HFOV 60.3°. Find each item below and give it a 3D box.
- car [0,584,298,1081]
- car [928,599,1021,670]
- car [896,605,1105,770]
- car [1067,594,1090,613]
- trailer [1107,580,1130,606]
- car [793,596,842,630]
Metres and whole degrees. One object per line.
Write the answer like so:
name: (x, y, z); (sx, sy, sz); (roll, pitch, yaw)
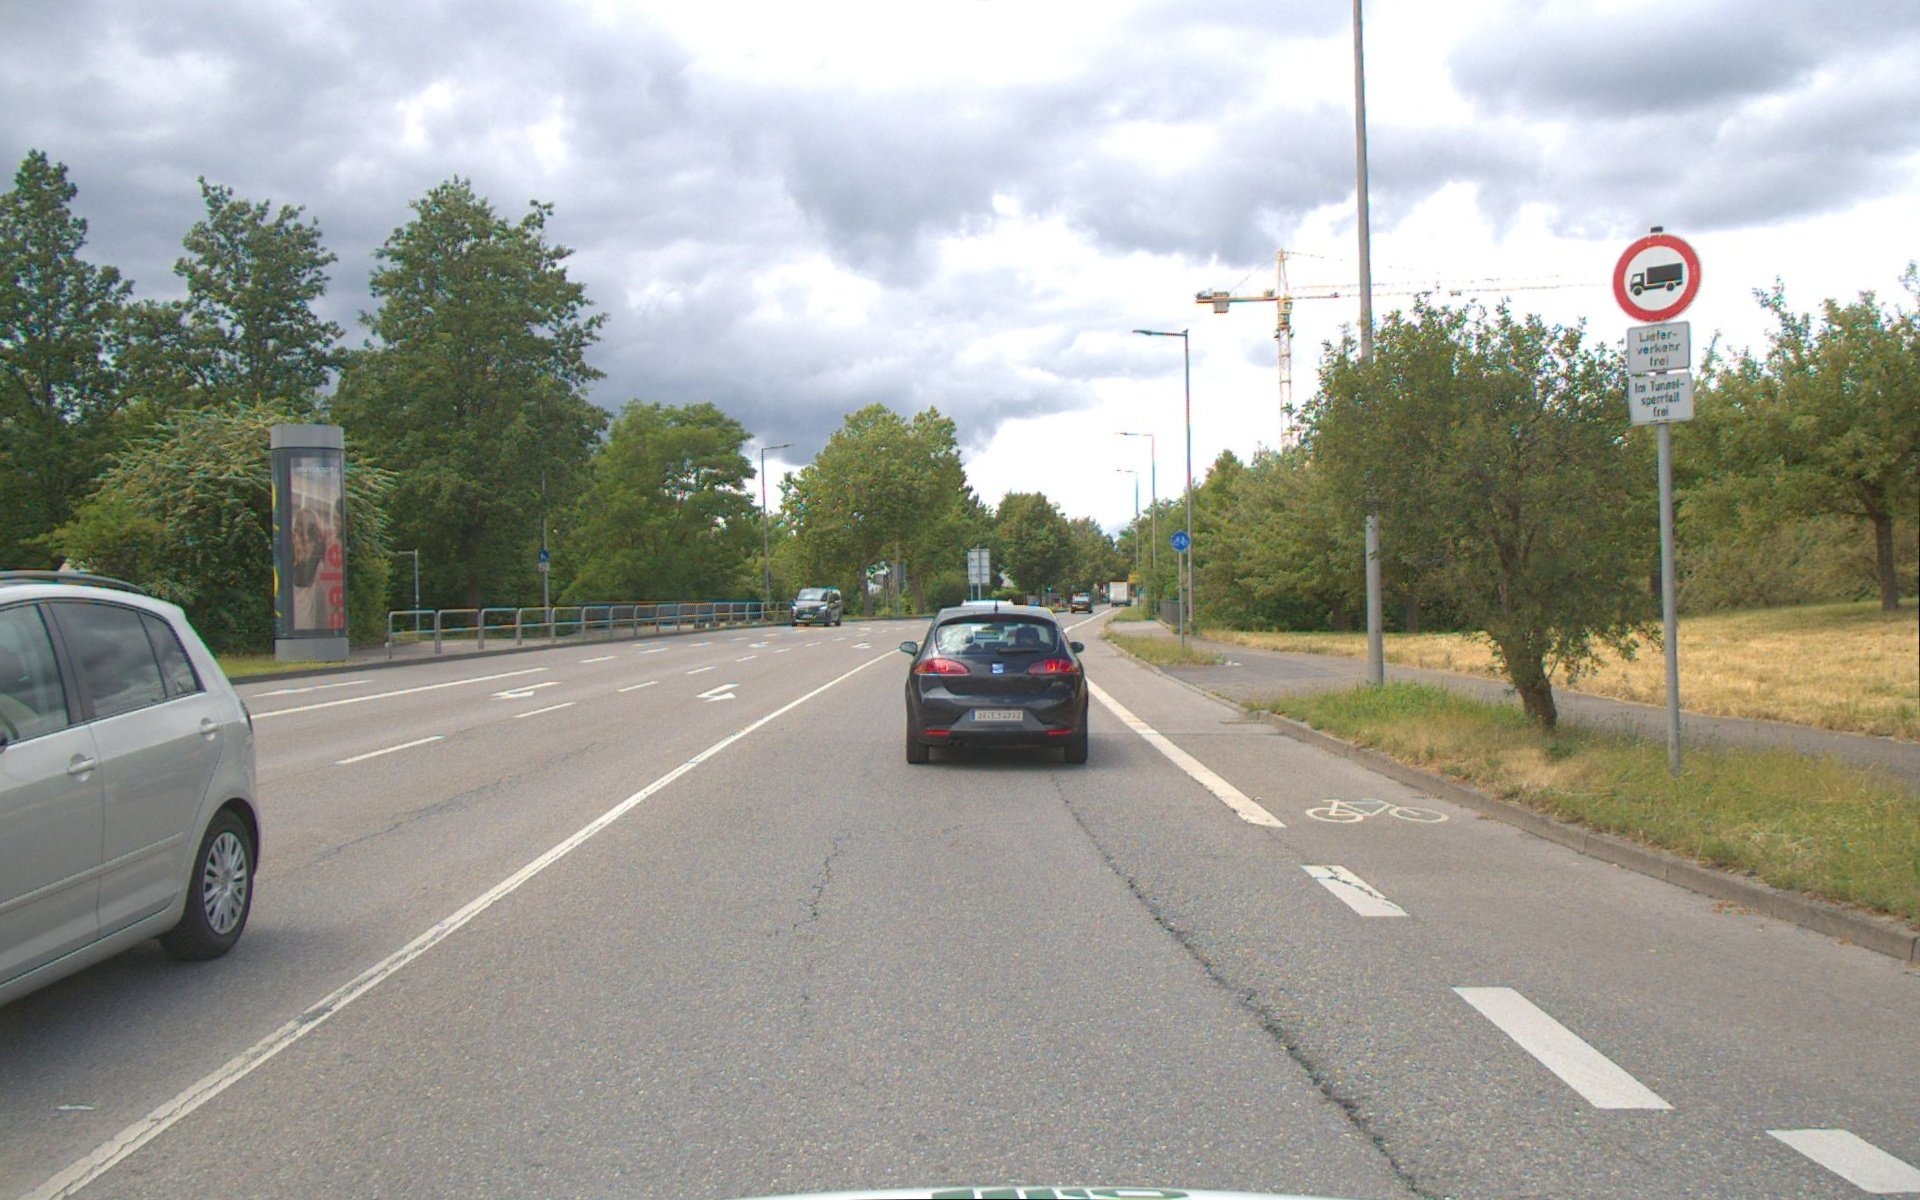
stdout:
car: (-3.793, 0.713, 5.452); (1.627, 1.545, 4.083); (1, 0, -1)
car: (0.275, 0.762, 37.370); (1.798, 1.493, 3.748); (1, -1, -4)
car: (0.295, 0.778, 16.282); (1.678, 1.442, 3.455); (1, 0, -5)
car: (10.279, 0.277, 143.103); (1.951, 1.593, 4.473); (0, 0, 5)
trailer: (20.112, -0.851, 209.544); (2.438, 3.127, 5.591); (1, -1, 11)
car: (-7.025, 0.662, 82.065); (1.678, 1.609, 3.745); (1, -1, 7)
